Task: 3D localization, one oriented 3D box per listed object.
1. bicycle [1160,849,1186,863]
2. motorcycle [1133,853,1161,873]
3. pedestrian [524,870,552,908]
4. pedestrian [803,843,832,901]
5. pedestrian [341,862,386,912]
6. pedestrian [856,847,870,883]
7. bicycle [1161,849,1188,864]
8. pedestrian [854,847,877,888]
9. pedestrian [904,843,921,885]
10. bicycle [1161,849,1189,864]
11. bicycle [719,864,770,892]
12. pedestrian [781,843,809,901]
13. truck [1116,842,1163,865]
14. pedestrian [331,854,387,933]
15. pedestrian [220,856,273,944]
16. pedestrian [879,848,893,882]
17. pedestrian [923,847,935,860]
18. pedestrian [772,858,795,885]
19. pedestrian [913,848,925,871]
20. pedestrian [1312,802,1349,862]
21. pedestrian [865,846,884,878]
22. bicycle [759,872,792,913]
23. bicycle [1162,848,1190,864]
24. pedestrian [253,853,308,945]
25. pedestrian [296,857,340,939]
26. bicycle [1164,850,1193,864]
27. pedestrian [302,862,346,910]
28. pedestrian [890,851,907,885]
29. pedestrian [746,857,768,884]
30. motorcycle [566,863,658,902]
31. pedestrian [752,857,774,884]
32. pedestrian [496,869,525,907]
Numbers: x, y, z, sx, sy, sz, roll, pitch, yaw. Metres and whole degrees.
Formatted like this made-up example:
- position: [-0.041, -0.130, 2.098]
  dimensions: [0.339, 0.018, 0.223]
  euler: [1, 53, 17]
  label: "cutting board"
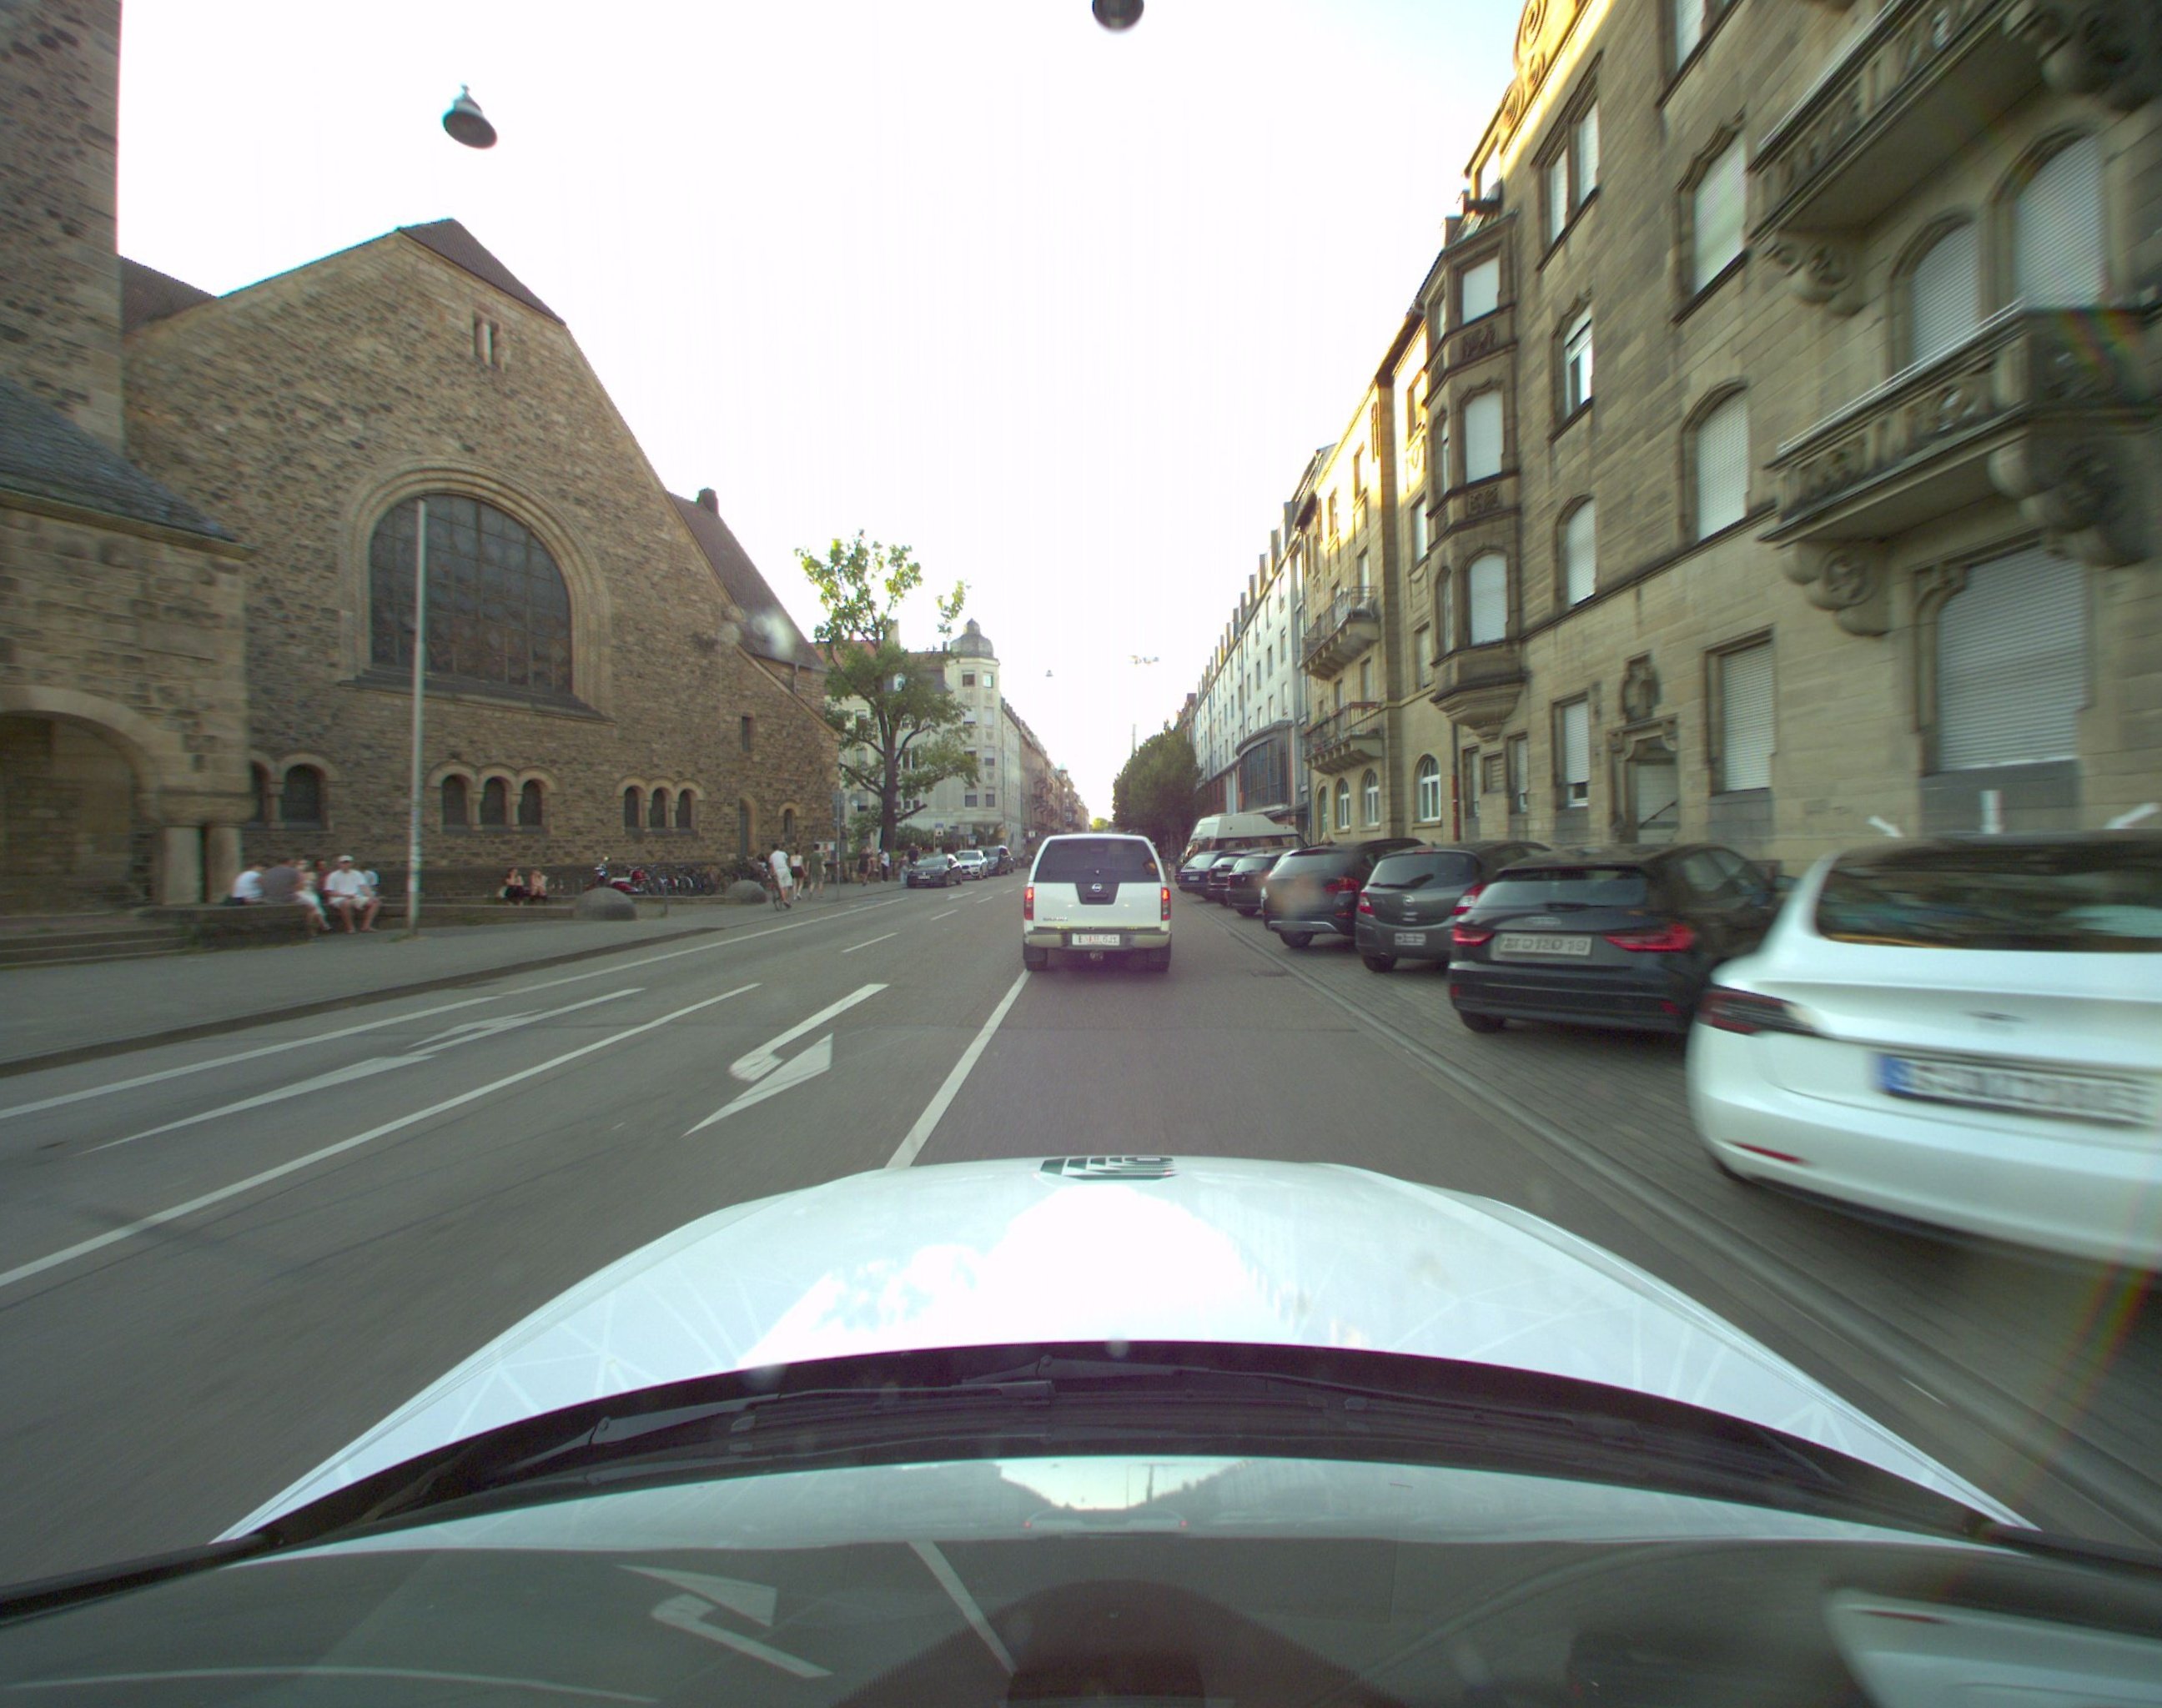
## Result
- position: [9.174, 0.181, 81.233]
  dimensions: [2.523, 1.379, 0.600]
  euler: [-1, 0, 4]
  label: "bicycle"
- position: [4.112, 0.556, 50.753]
  dimensions: [1.643, 1.101, 0.646]
  euler: [-4, 0, -7]
  label: "motorcycle"
- position: [-14.603, 0.928, 21.908]
  dimensions: [0.563, 0.991, 0.689]
  euler: [-1, 0, -31]
  label: "pedestrian"
- position: [-8.707, 0.590, 26.934]
  dimensions: [0.645, 1.879, 0.891]
  euler: [-1, 0, -1]
  label: "pedestrian"
- position: [-16.797, 0.757, 19.098]
  dimensions: [0.688, 1.094, 1.318]
  euler: [-1, 0, -38]
  label: "pedestrian"
- position: [-10.406, 0.513, 38.891]
  dimensions: [0.417, 1.674, 0.542]
  euler: [-1, 0, -38]
  label: "pedestrian"
- position: [8.878, 0.239, 77.570]
  dimensions: [2.523, 1.379, 0.600]
  euler: [-1, 0, 4]
  label: "bicycle"
- position: [-9.413, 0.588, 35.587]
  dimensions: [0.711, 1.725, 0.692]
  euler: [-1, 0, 3]
  label: "pedestrian"
- position: [-7.717, 0.462, 37.332]
  dimensions: [0.580, 1.905, 0.803]
  euler: [-1, 0, -1]
  label: "pedestrian"
- position: [8.809, 0.210, 76.208]
  dimensions: [2.523, 1.379, 0.600]
  euler: [-1, 0, 4]
  label: "bicycle"
- position: [-12.548, 0.890, 30.376]
  dimensions: [1.864, 0.989, 0.443]
  euler: [-1, 0, 17]
  label: "bicycle"
- position: [-9.412, 0.587, 26.834]
  dimensions: [0.571, 1.856, 0.988]
  euler: [-1, 0, -1]
  label: "pedestrian"
- position: [7.937, -0.007, 110.028]
  dimensions: [6.293, 2.977, 2.266]
  euler: [0, -3, 3]
  label: "truck"
- position: [-13.388, 0.721, 15.099]
  dimensions: [0.695, 1.406, 0.636]
  euler: [-1, 0, 37]
  label: "pedestrian"
- position: [-13.750, 0.747, 13.424]
  dimensions: [0.397, 1.406, 0.551]
  euler: [-1, 0, 37]
  label: "pedestrian"
- position: [-9.422, 0.550, 39.334]
  dimensions: [0.417, 1.622, 0.542]
  euler: [-1, 0, -38]
  label: "pedestrian"
- position: [-11.306, -0.040, 60.599]
  dimensions: [0.704, 0.980, 0.837]
  euler: [-2, 0, 0]
  label: "pedestrian"
- position: [-11.867, 0.684, 32.462]
  dimensions: [0.512, 1.056, 0.703]
  euler: [-1, 0, 19]
  label: "pedestrian"
- position: [-12.044, 0.396, 60.596]
  dimensions: [0.704, 1.721, 0.837]
  euler: [-2, 0, 0]
  label: "pedestrian"
- position: [8.854, -0.790, 28.978]
  dimensions: [0.605, 2.011, 0.859]
  euler: [15, 2, 4]
  label: "pedestrian"
- position: [-10.067, 0.401, 39.750]
  dimensions: [0.644, 1.545, 0.589]
  euler: [-1, 0, 25]
  label: "pedestrian"
- position: [-8.545, 1.053, 22.844]
  dimensions: [0.552, 1.012, 2.178]
  euler: [0, 0, -13]
  label: "bicycle"
- position: [8.805, 0.210, 75.493]
  dimensions: [2.523, 1.379, 0.600]
  euler: [-1, 0, 4]
  label: "bicycle"
- position: [-13.164, 0.724, 13.394]
  dimensions: [0.543, 1.453, 0.561]
  euler: [-1, 0, 37]
  label: "pedestrian"
- position: [-13.605, 0.769, 14.519]
  dimensions: [0.541, 1.406, 0.461]
  euler: [-1, 0, 37]
  label: "pedestrian"
- position: [8.705, 0.263, 72.488]
  dimensions: [2.523, 1.166, 0.563]
  euler: [-1, 0, 4]
  label: "bicycle"
- position: [-17.411, 0.725, 18.746]
  dimensions: [0.650, 1.075, 0.821]
  euler: [-1, 0, -38]
  label: "pedestrian"
- position: [-8.373, 0.628, 37.300]
  dimensions: [0.580, 1.552, 0.839]
  euler: [0, 0, -1]
  label: "pedestrian"
- position: [-12.586, 0.638, 31.610]
  dimensions: [0.741, 1.048, 0.515]
  euler: [-1, 0, -28]
  label: "pedestrian"
- position: [-14.404, 0.870, 25.050]
  dimensions: [2.403, 1.126, 0.823]
  euler: [1, 0, 6]
  label: "motorcycle"
- position: [-12.619, 0.650, 32.338]
  dimensions: [0.493, 1.048, 0.611]
  euler: [-1, 0, 22]
  label: "pedestrian"
- position: [-15.090, 0.900, 21.541]
  dimensions: [0.563, 0.967, 0.643]
  euler: [-1, 0, -31]
  label: "pedestrian"
